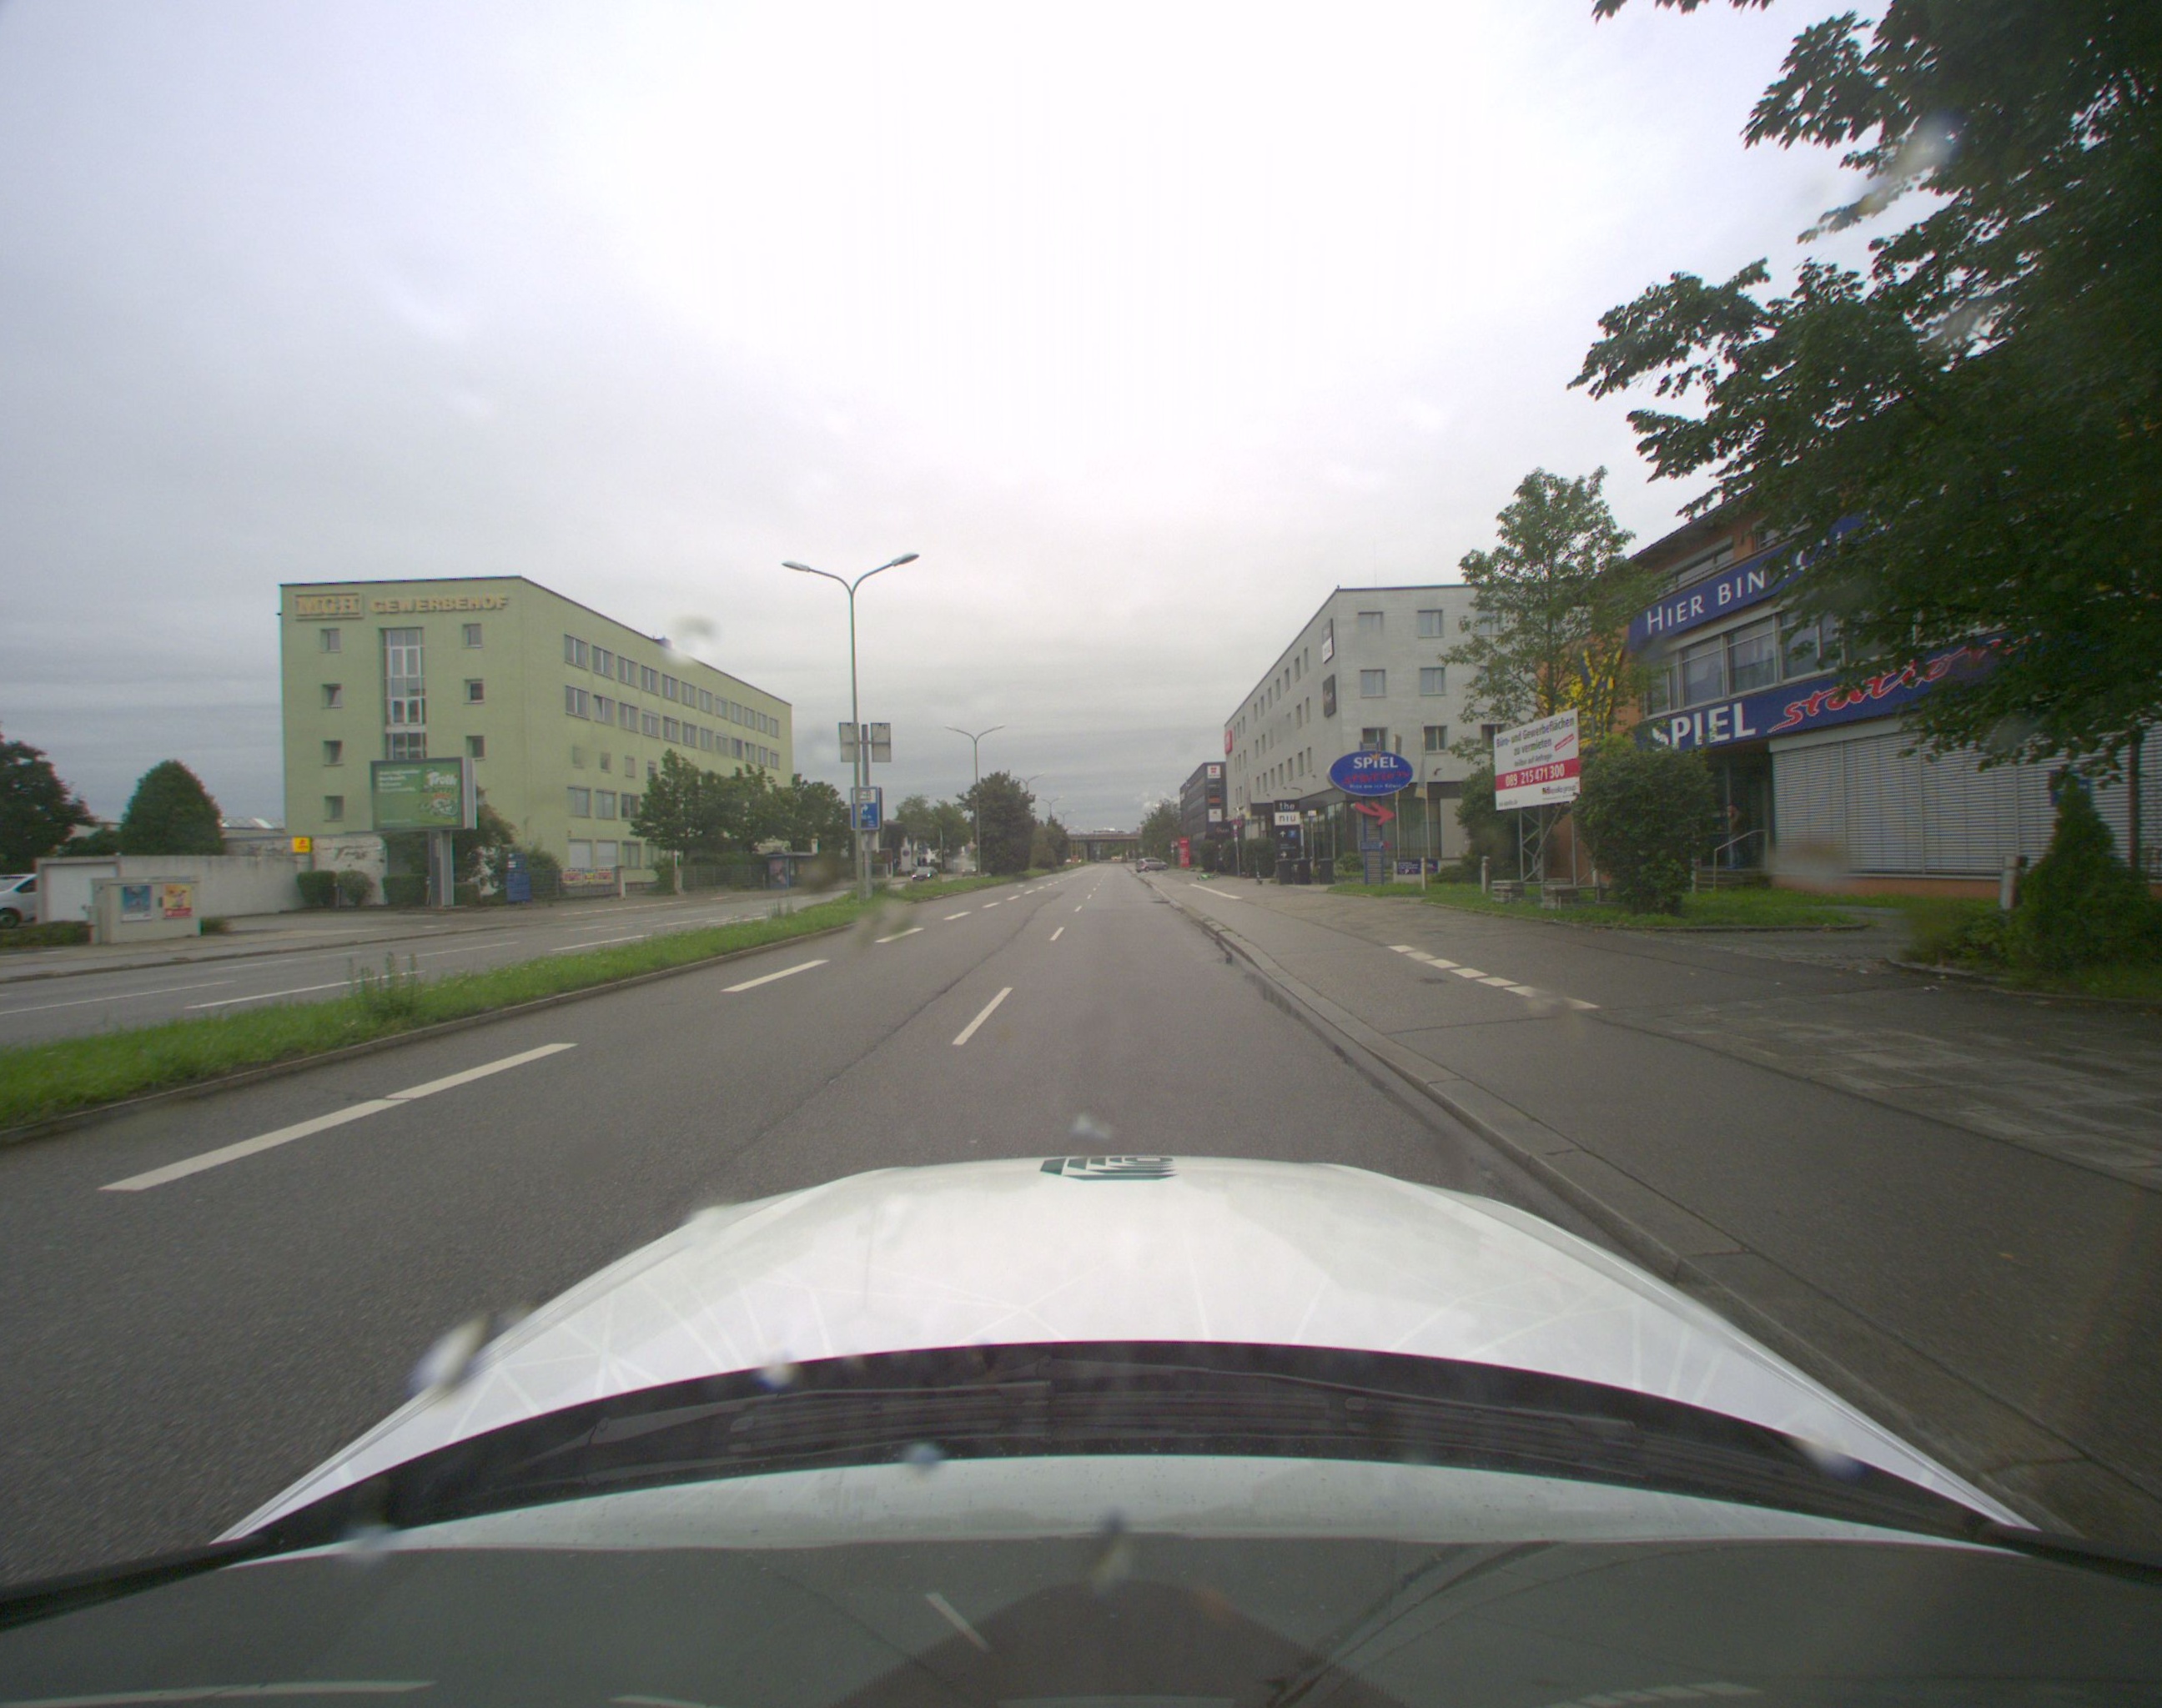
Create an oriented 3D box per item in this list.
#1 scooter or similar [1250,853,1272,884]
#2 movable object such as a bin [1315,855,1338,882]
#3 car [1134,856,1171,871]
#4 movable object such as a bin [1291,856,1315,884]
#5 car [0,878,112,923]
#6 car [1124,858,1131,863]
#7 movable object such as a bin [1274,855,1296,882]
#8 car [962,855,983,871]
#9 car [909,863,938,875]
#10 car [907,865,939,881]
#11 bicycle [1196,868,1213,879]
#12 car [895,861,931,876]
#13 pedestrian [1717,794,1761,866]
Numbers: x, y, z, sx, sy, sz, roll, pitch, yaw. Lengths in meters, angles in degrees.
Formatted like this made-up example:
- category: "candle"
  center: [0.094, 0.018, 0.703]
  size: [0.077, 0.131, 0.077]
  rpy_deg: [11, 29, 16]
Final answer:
- category: "scooter or similar"
  center: [7.866, 0.622, 35.577]
  size: [0.583, 1.277, 1.405]
  rpy_deg: [-7, -1, 3]
- category: "movable object such as a bin"
  center: [10.029, 0.584, 33.274]
  size: [0.734, 1.078, 0.656]
  rpy_deg: [-3, -1, 2]
- category: "car"
  center: [8.093, 1.047, 92.073]
  size: [4.045, 1.557, 1.799]
  rpy_deg: [-1, 0, -38]
- category: "movable object such as a bin"
  center: [9.002, 0.645, 33.057]
  size: [0.734, 1.078, 0.656]
  rpy_deg: [-3, -1, 2]
- category: "car"
  center: [-37.414, 1.656, 28.593]
  size: [1.818, 1.438, 4.002]
  rpy_deg: [-3, 0, 2]
- category: "car"
  center: [13.912, 2.015, 243.932]
  size: [1.729, 1.548, 4.306]
  rpy_deg: [-1, 0, 2]
- category: "movable object such as a bin"
  center: [8.452, 0.609, 33.757]
  size: [0.734, 1.078, 0.656]
  rpy_deg: [-3, -1, 2]
- category: "car"
  center: [-14.093, 1.197, 106.065]
  size: [1.986, 1.960, 4.325]
  rpy_deg: [-3, 0, 1]
- category: "car"
  center: [-23.622, 2.204, 122.249]
  size: [3.951, 1.509, 1.811]
  rpy_deg: [-3, 0, 23]
- category: "car"
  center: [-15.179, 1.788, 78.595]
  size: [1.986, 1.401, 4.655]
  rpy_deg: [-3, 0, 1]
- category: "bicycle"
  center: [7.053, 1.093, 46.547]
  size: [0.717, 0.548, 1.733]
  rpy_deg: [-5, 0, 2]
- category: "car"
  center: [-23.406, 2.045, 113.425]
  size: [4.649, 1.842, 1.788]
  rpy_deg: [-3, 0, -21]
- category: "pedestrian"
  center: [16.369, -0.592, 20.250]
  size: [0.666, 1.712, 0.652]
  rpy_deg: [-3, -1, -39]
